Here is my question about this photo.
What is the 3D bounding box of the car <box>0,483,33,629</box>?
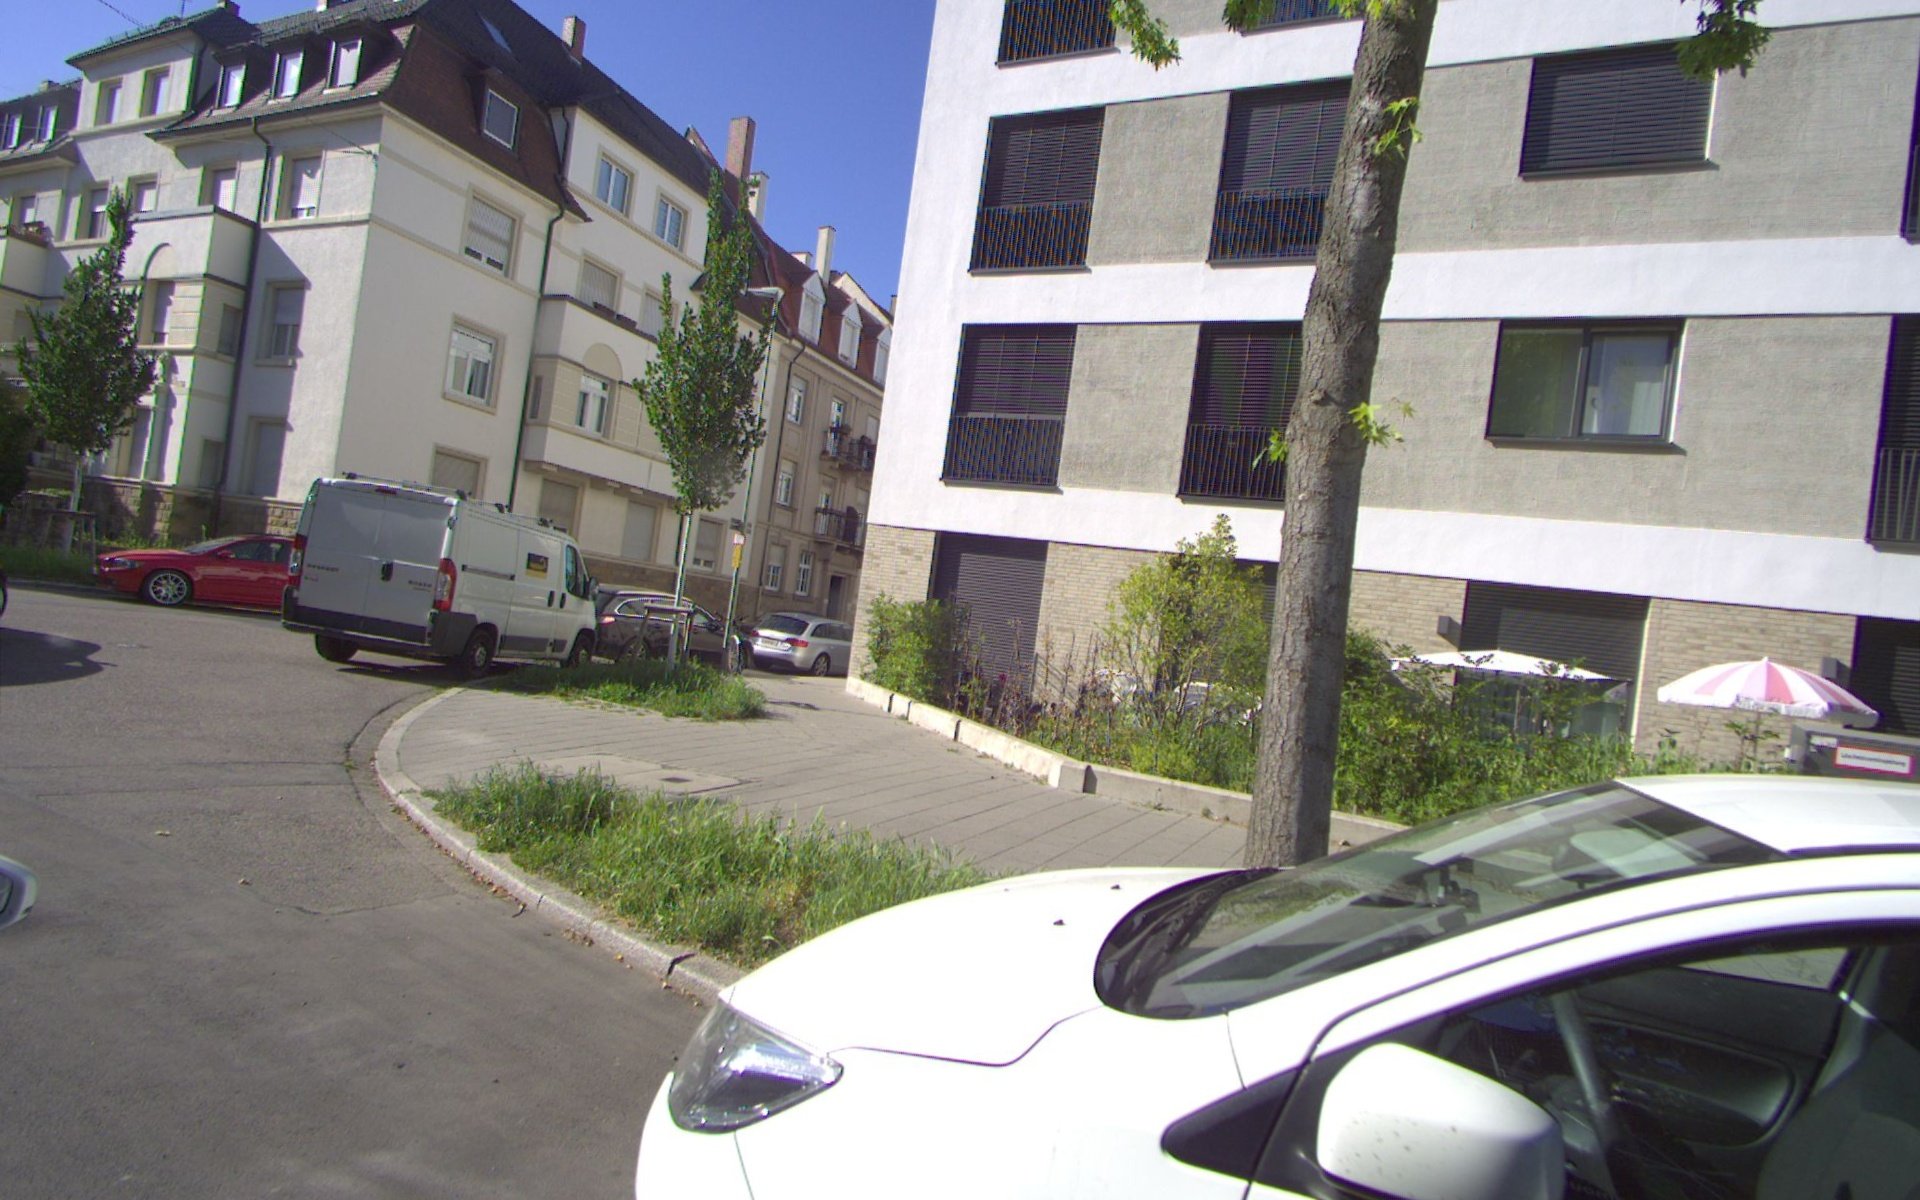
[{"bbox_3d":[-10.354,-0.521,8.832,1.764,1.542,3.981,8,-1,-21],"label":"car"}]

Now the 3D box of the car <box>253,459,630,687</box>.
[{"bbox_3d":[-6.767,-0.230,14.039,2.193,2.333,5.060,8,-1,3],"label":"car"}]

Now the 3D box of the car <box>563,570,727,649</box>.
[{"bbox_3d":[-8.507,0.319,27.537,1.801,1.660,4.185,7,-2,24],"label":"car"}]

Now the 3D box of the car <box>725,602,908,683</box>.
[{"bbox_3d":[-3.364,1.125,24.763,1.926,1.445,4.944,9,-1,25],"label":"car"}]

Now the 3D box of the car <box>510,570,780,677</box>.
[{"bbox_3d":[-5.759,0.548,19.178,2.011,1.486,4.944,8,-1,24],"label":"car"}]

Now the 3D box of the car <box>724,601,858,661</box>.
[{"bbox_3d":[-5.595,1.105,34.057,1.795,1.486,4.944,7,-2,26],"label":"car"}]

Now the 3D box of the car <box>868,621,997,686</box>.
[{"bbox_3d":[-0.725,1.701,30.837,1.930,1.485,4.948,7,-3,23],"label":"car"}]

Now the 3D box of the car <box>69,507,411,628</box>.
[{"bbox_3d":[-13.106,-0.528,18.588,1.925,1.486,4.716,6,-2,40],"label":"car"}]

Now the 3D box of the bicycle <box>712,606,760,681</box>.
[{"bbox_3d":[-4.028,0.751,18.043,0.652,1.187,1.989,8,-2,-13],"label":"bicycle"}]

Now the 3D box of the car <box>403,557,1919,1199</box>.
[{"bbox_3d":[1.290,0.986,1.551,3.937,1.504,1.739,7,-2,24],"label":"car"}]
